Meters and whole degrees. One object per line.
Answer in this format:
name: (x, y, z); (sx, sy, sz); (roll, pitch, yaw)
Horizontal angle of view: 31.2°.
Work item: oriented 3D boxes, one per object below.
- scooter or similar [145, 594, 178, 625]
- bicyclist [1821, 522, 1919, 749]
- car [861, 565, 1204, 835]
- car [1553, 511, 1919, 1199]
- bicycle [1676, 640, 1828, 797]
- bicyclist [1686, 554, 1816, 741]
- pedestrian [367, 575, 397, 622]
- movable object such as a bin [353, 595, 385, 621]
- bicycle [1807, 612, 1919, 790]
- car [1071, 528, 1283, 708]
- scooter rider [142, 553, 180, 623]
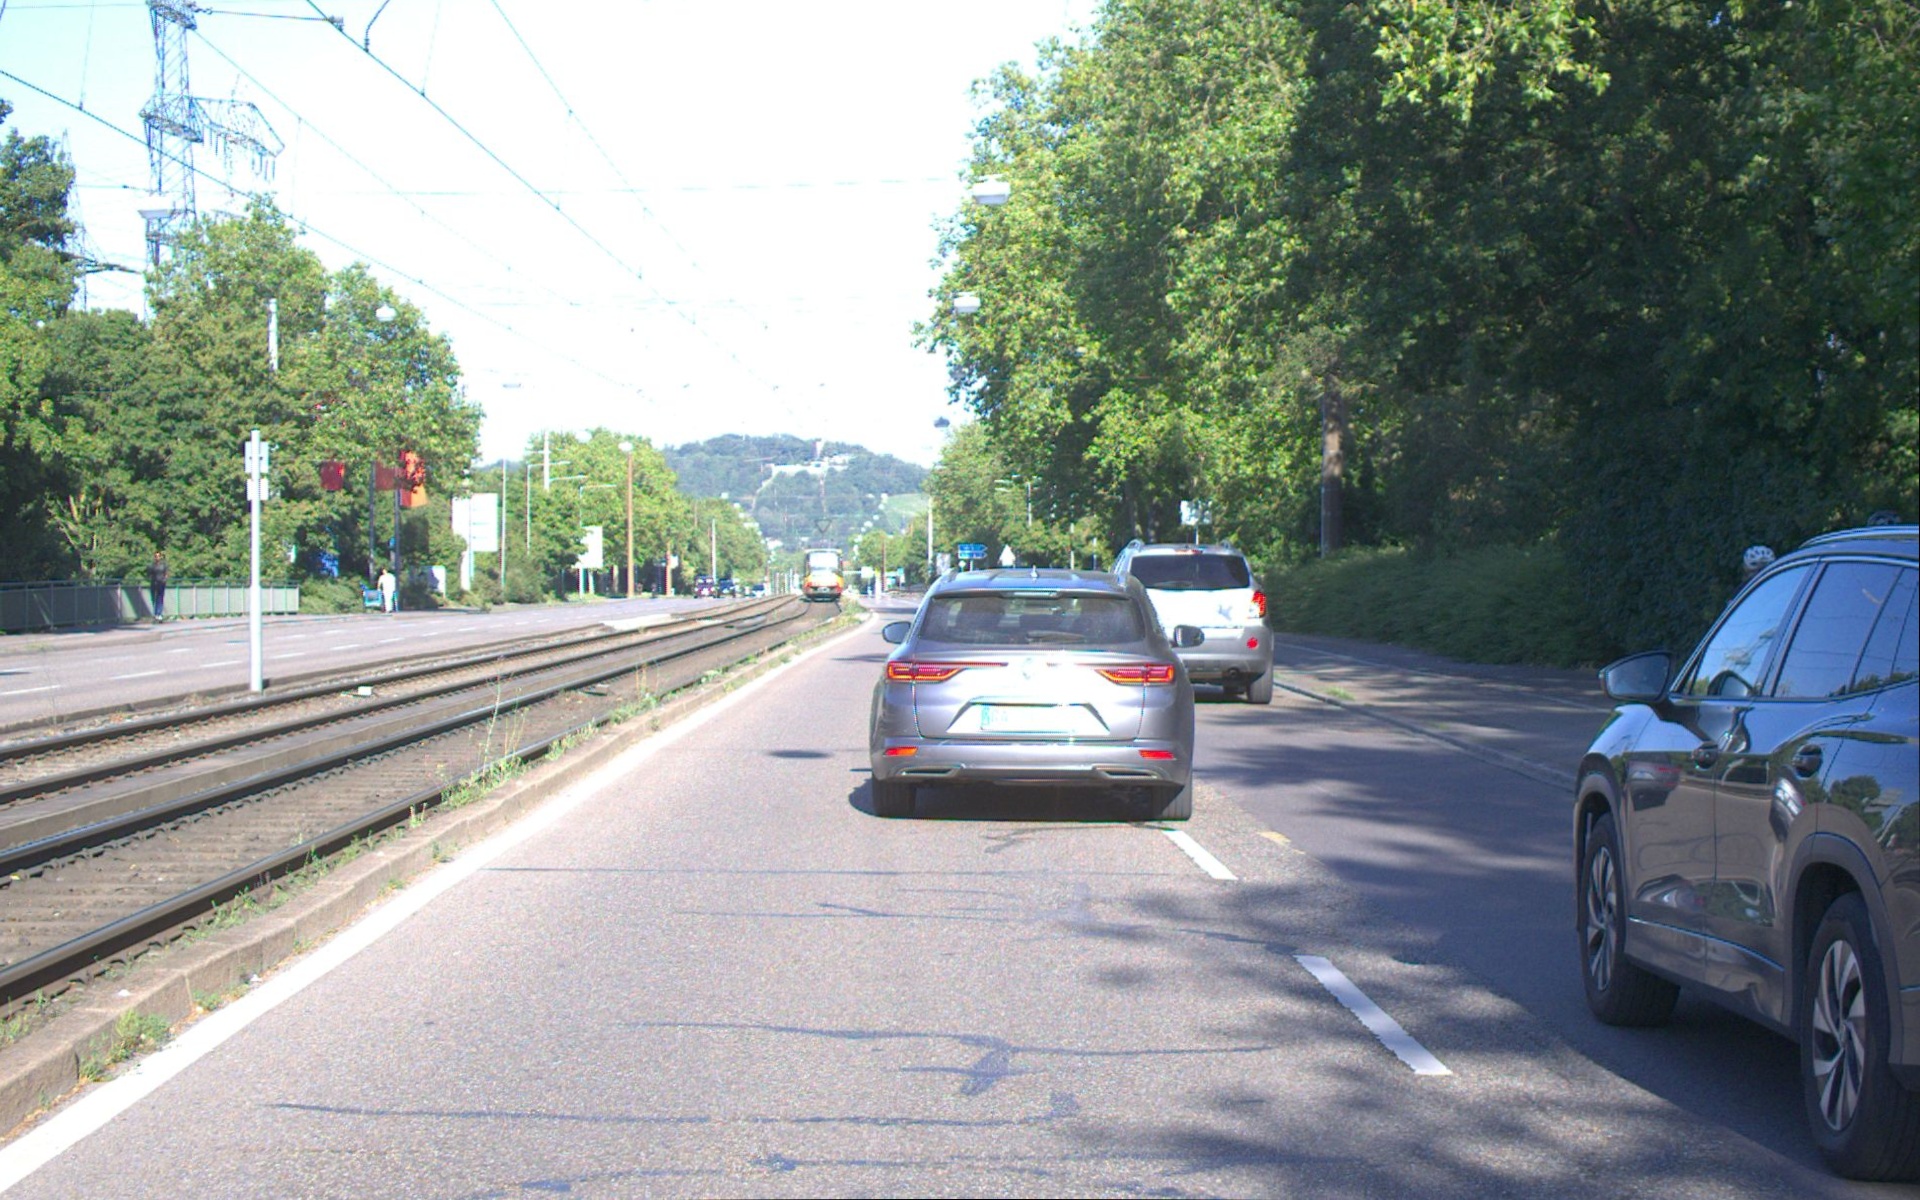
scooter or similar: (-21.300, 0.250, 91.675); (0.472, 0.826, 1.262); (0, 0, 6)
bicyclist: (6.288, 0.231, 23.240); (0.685, 1.503, 0.891); (0, 1, -1)
car: (0.374, 0.537, 21.121); (1.866, 1.462, 4.666); (0, 0, 0)
car: (3.014, 0.634, 9.622); (1.844, 1.655, 4.440); (1, 0, -1)
bicycle: (5.332, 0.779, 23.227); (0.565, 0.971, 1.788); (-1, 1, -1)
bicyclist: (5.333, 0.308, 23.219); (0.641, 1.222, 0.891); (-1, 1, -1)
pedestrian: (-22.148, -0.047, 131.789); (0.725, 1.750, 0.834); (2, -1, 21)
movable object such as a bin: (-22.496, 0.305, 130.884); (0.725, 0.958, 1.100); (2, -1, 21)
bicycle: (6.280, 0.661, 23.230); (0.622, 1.116, 1.813); (-1, 1, -1)
car: (2.305, 0.150, 37.548); (1.883, 1.789, 4.000); (2, 1, -2)
scooter rider: (-21.306, -0.323, 91.662); (0.682, 1.842, 1.000); (0, 0, 7)
